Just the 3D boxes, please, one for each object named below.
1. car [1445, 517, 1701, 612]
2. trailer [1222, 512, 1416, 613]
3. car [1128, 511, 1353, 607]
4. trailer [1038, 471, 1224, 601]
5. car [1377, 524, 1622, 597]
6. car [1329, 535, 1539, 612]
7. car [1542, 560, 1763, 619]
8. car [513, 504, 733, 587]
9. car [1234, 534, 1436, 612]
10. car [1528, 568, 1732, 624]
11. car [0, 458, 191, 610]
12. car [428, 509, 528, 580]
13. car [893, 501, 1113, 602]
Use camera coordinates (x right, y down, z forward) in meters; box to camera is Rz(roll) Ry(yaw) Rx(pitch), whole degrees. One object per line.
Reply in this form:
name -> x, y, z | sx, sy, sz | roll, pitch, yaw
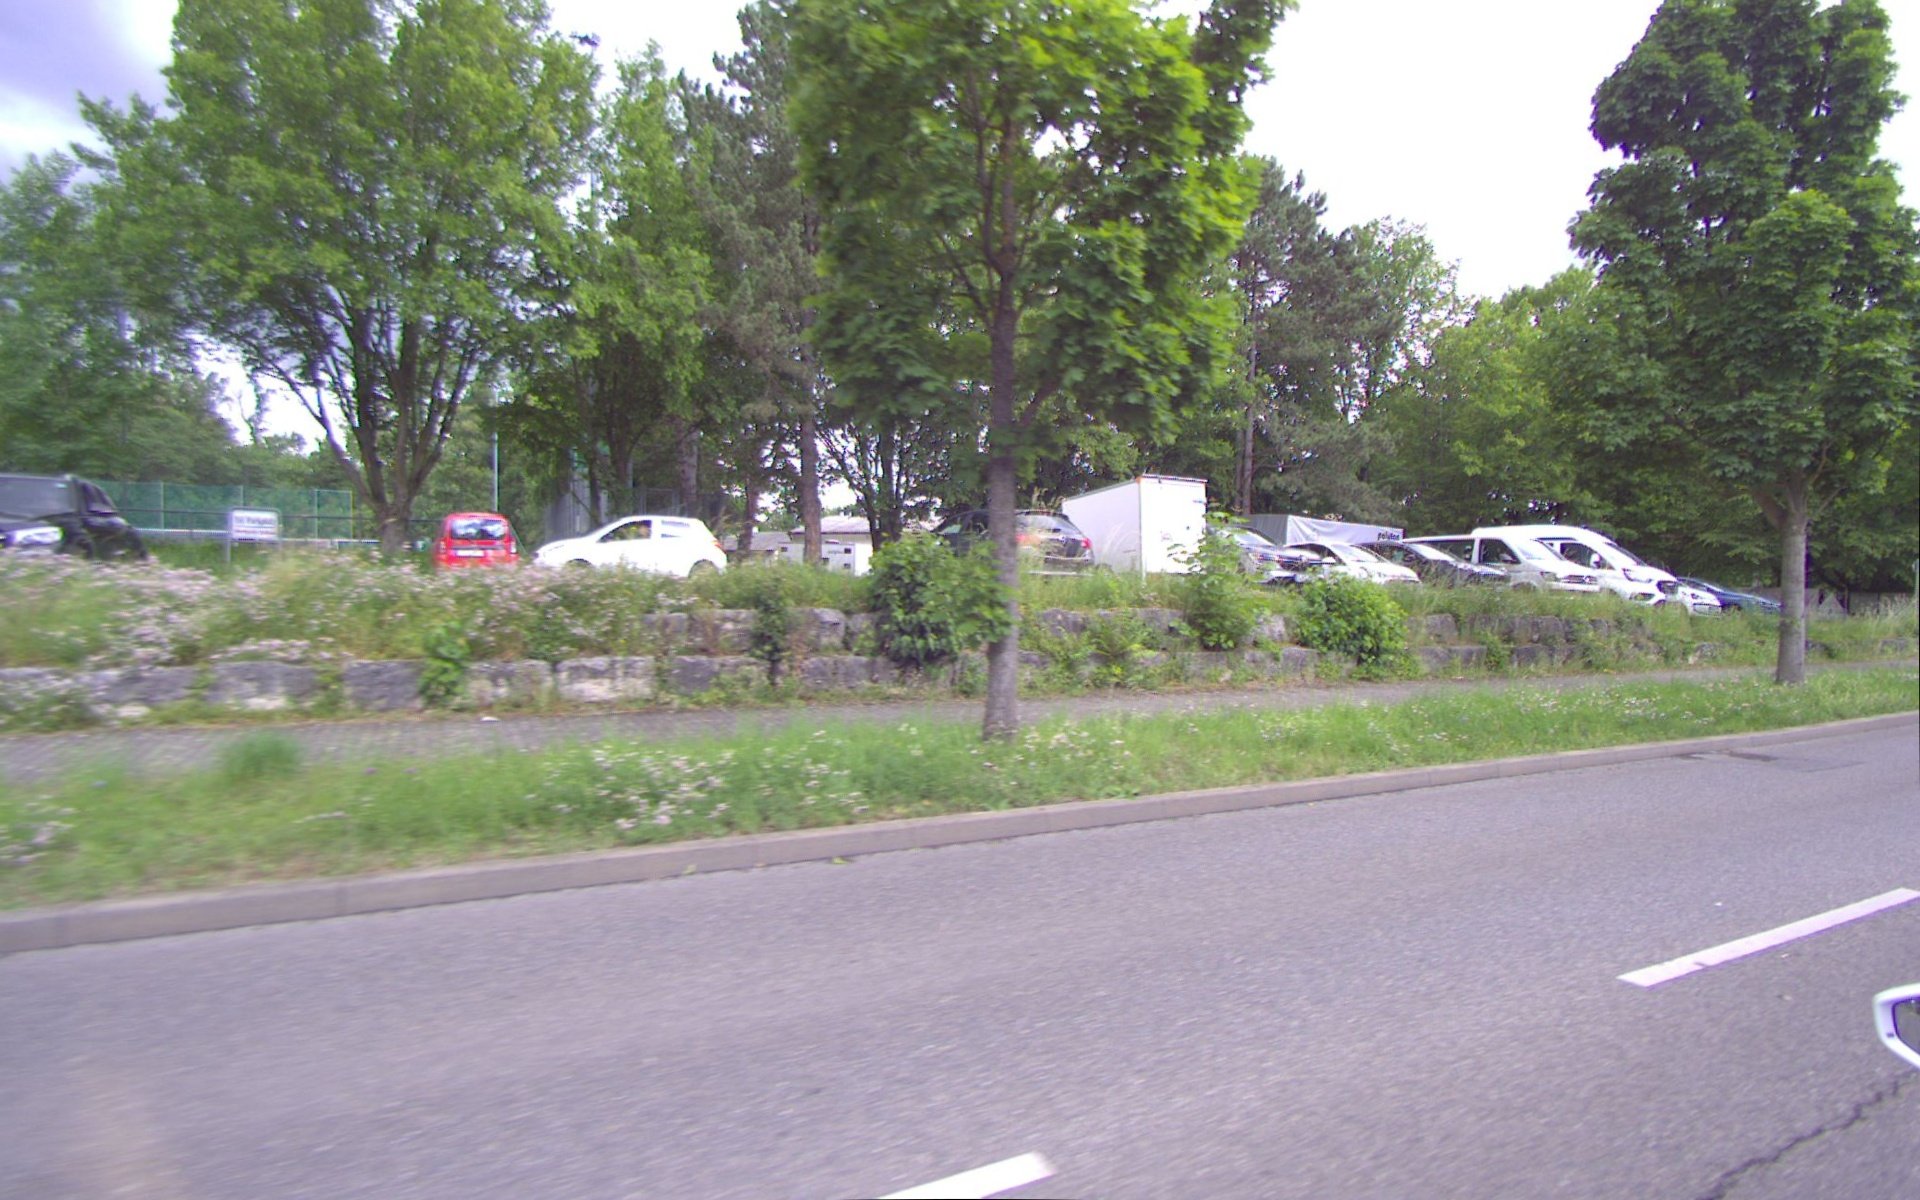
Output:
car -> 15.469, -0.900, 25.702 | 2.189, 2.135, 5.129 | 1, 2, -31
trailer -> 13.155, -1.275, 36.618 | 7.114, 3.115, 2.634 | 3, 1, -31
car -> 5.239, -0.759, 19.319 | 1.974, 1.605, 4.019 | 1, 2, -26
trailer -> 2.997, -1.067, 18.267 | 1.656, 2.086, 3.354 | 1, 1, -26
car -> 12.945, -0.951, 24.518 | 2.070, 1.569, 4.975 | 1, 2, -26
car -> 10.795, -0.619, 23.180 | 1.974, 1.569, 4.019 | 1, 2, -26
car -> 20.546, -0.362, 30.079 | 1.864, 1.582, 5.129 | 1, 2, -31
car -> -6.868, -1.061, 20.478 | 3.997, 1.436, 1.985 | 1, 2, -28
car -> 8.120, -0.601, 22.114 | 1.758, 1.532, 4.019 | 1, 2, -26
car -> 18.066, -0.154, 27.297 | 1.545, 1.334, 4.354 | 1, 2, -31
car -> -10.269, -0.710, 11.184 | 1.974, 1.436, 4.019 | 1, 2, -27
car -> -11.087, -1.236, 23.074 | 1.877, 1.436, 4.085 | 1, 2, -27
car -> 0.578, -0.782, 16.840 | 1.974, 1.436, 4.019 | 1, 2, -26
